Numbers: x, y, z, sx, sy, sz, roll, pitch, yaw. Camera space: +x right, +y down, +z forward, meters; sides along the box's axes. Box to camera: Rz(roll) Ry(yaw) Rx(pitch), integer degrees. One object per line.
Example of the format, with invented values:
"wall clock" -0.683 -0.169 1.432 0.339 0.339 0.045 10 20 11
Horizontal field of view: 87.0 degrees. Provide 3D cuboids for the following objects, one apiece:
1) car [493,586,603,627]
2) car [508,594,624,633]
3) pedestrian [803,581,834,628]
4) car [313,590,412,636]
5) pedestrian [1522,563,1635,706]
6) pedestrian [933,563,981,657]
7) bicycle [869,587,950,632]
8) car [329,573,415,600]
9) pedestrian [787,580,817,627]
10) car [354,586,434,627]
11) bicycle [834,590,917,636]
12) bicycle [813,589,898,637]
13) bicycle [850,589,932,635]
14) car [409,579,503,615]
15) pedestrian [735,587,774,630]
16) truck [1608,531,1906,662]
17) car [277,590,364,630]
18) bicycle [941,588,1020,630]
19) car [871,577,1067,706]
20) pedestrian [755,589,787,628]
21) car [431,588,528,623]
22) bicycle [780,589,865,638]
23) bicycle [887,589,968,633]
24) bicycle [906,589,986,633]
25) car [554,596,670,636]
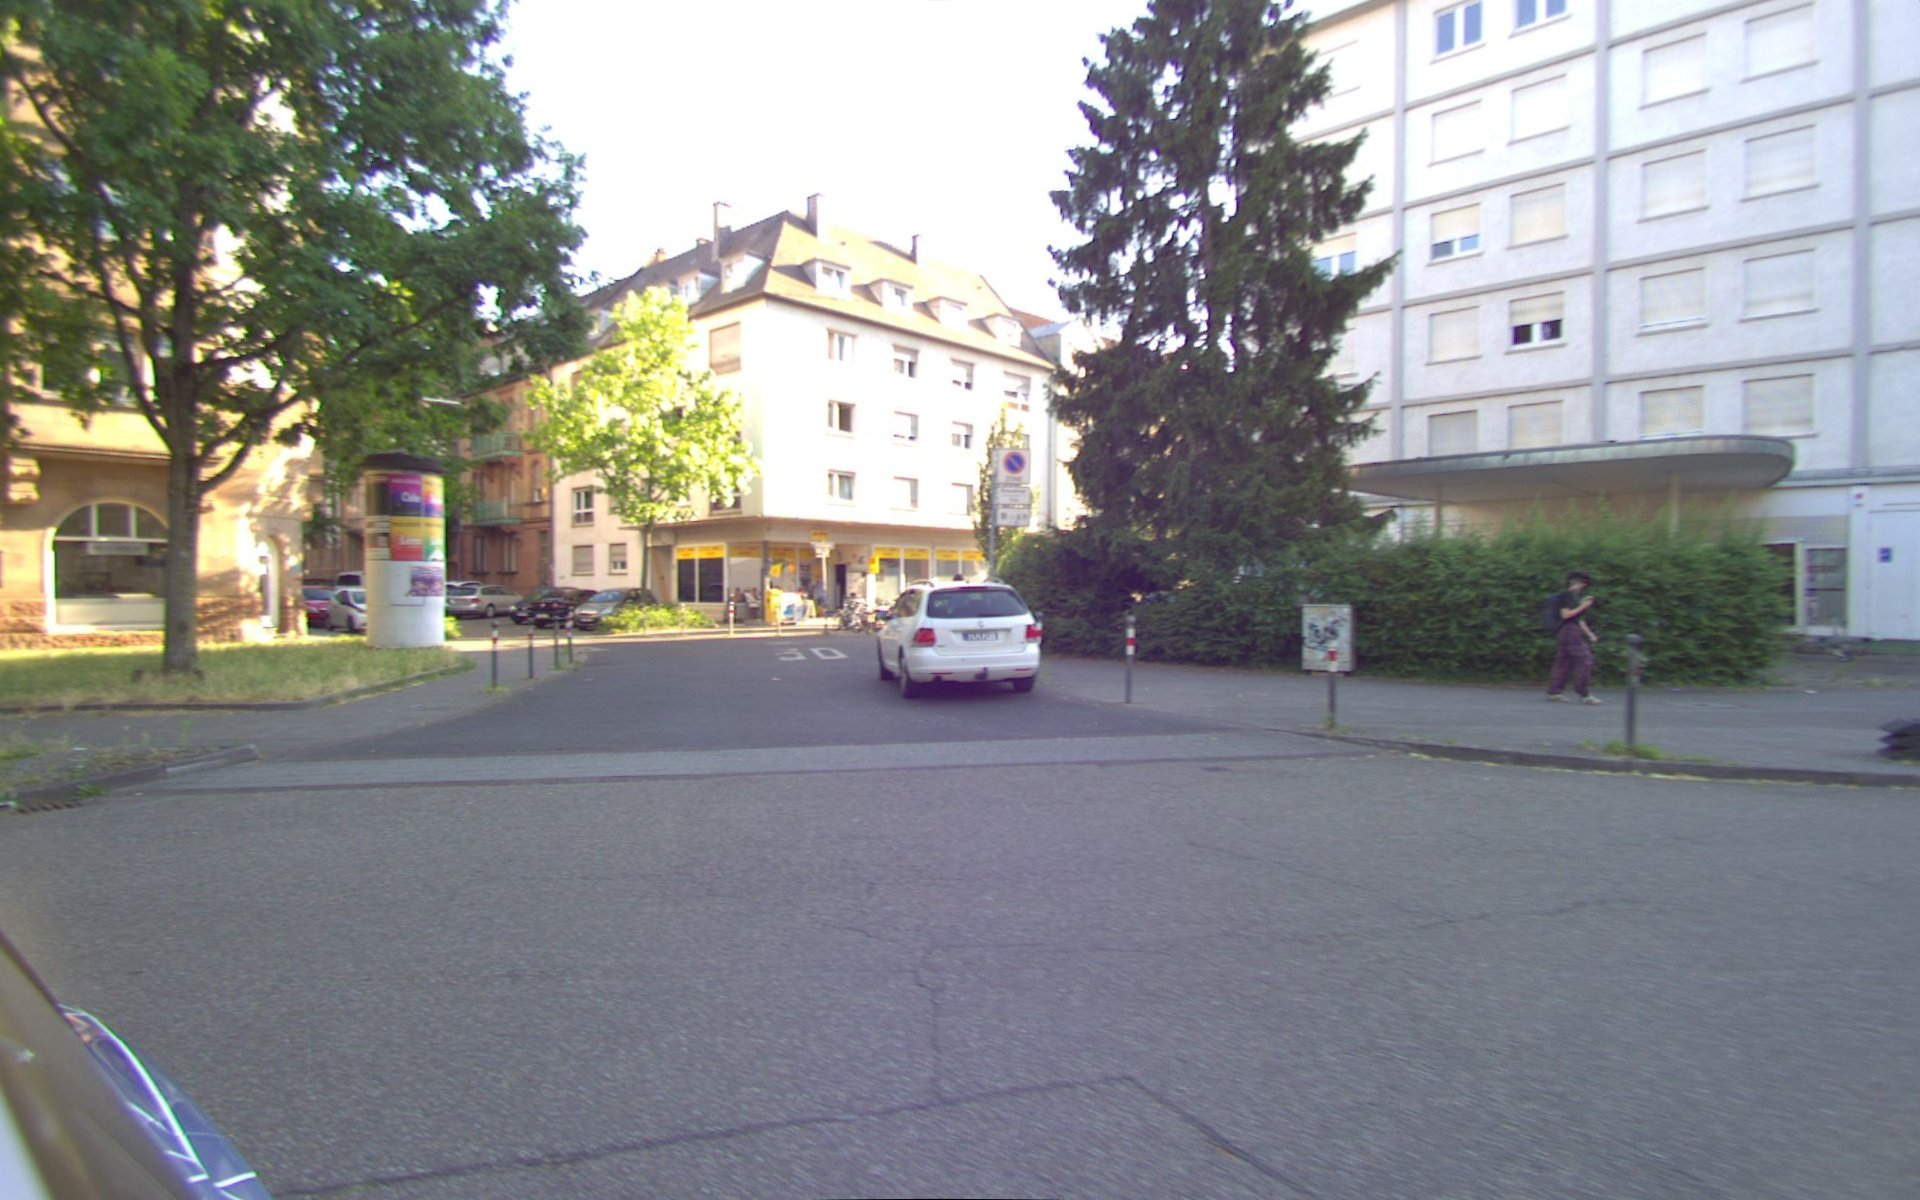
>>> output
"car" -16.882 0.247 41.620 1.865 1.580 3.962 0 0 28
"car" -15.039 0.470 38.845 1.863 1.410 3.965 0 0 26
"pedestrian" -5.739 0.175 41.019 0.852 1.889 0.878 0 0 43
"car" -19.788 0.398 33.463 4.002 1.410 1.846 0 0 44
"pedestrian" 7.823 0.411 12.833 0.856 1.749 0.833 0 1 -14
"pedestrian" -0.072 0.207 22.290 0.848 2.029 0.988 0 0 -14
"bicycle" -1.842 0.316 36.157 0.868 1.456 3.383 0 2 -44
"car" -32.099 -0.718 55.348 1.855 1.410 3.983 0 0 14
"pedestrian" -6.477 0.147 41.557 0.852 1.889 0.878 0 0 43
"car" -23.992 0.249 42.848 1.913 1.659 4.538 0 0 -43
"bicycle" -2.907 0.400 34.413 0.868 1.456 3.382 0 1 -44
"bicycle" -3.494 0.396 33.484 0.868 1.456 3.382 0 1 -44
"bicycle" -2.458 0.377 35.437 0.868 1.456 3.383 0 2 -44
"car" -23.734 -0.150 47.795 1.855 1.648 3.983 0 0 14
"pedestrian" -8.084 0.332 39.815 0.964 1.679 1.198 0 0 43
"truck" 17.265 -0.076 22.128 4.973 2.554 1.972 0 0 43
"car" -23.374 0.341 36.943 4.002 1.410 1.846 0 0 44
"bicycle" 0.740 0.320 38.725 0.868 1.456 3.383 0 2 -44
"car" -0.066 0.469 14.020 1.892 1.461 4.305 -1 0 -10
"pedestrian" -7.655 0.335 41.042 0.891 1.581 0.950 0 0 44
"car" -21.506 0.225 45.465 1.855 1.516 3.983 0 0 14
"bicycle" -4.465 0.403 32.583 0.868 1.456 3.382 0 1 -44
"bicycle" -1.213 0.361 36.735 0.868 1.456 3.383 0 2 -44
"bicycle" -0.551 0.360 37.359 0.868 1.456 3.383 0 2 -44
"car" -12.865 0.553 37.679 1.863 1.410 3.965 0 0 26
